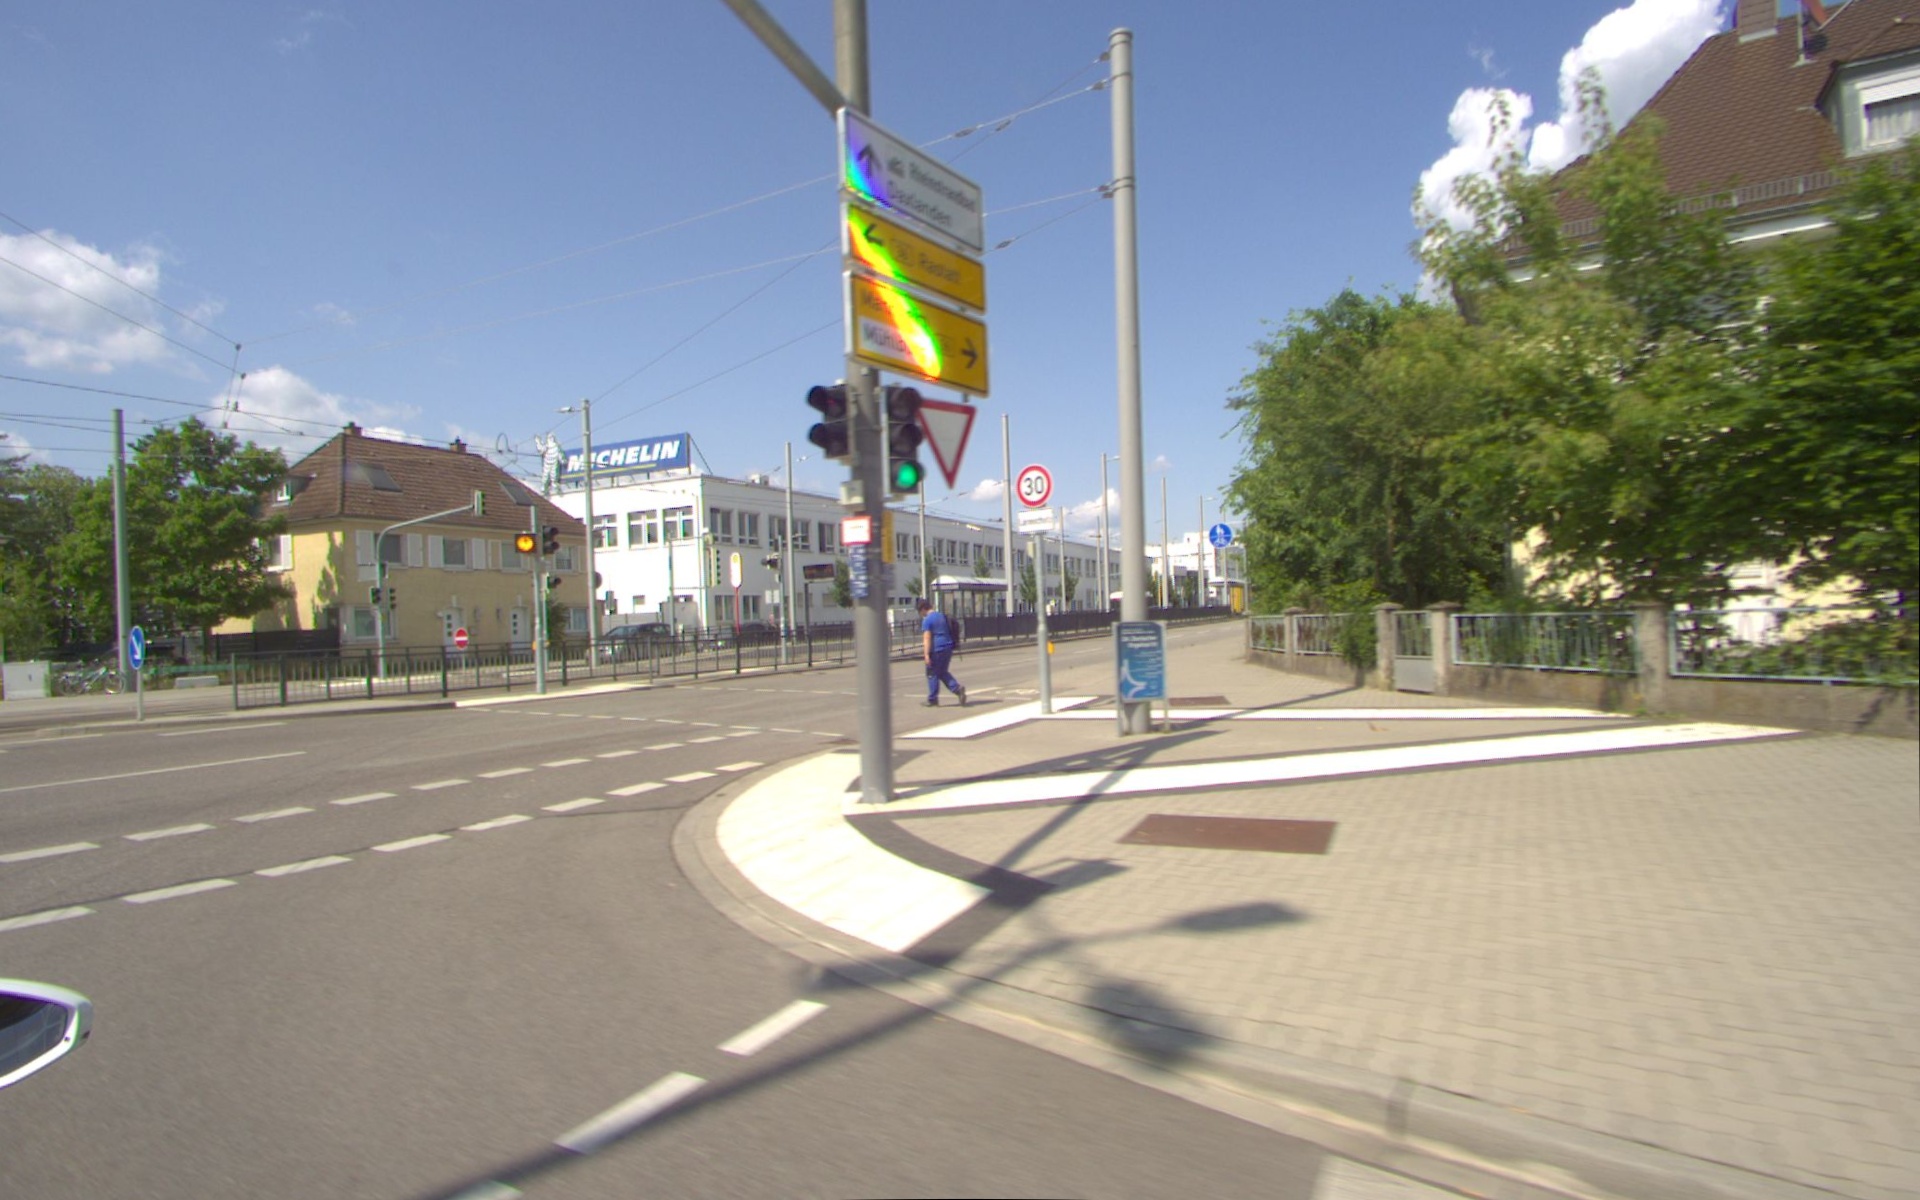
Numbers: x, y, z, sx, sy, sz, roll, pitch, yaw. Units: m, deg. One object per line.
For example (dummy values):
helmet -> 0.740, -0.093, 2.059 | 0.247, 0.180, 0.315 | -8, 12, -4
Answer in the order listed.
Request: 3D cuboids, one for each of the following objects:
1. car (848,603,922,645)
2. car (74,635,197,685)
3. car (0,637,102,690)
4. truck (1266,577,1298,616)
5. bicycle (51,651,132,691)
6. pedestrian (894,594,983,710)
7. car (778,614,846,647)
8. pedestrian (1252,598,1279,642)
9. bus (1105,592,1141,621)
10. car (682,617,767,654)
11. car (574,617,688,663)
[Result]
car -> -4.112, 1.323, 55.959 | 1.787, 2.187, 4.828 | -2, -1, 28
car -> -31.124, 2.263, 37.831 | 3.932, 1.641, 1.824 | -4, -1, 20
car -> -32.822, 2.278, 35.567 | 3.932, 1.641, 1.824 | -4, -1, 20
truck -> 30.623, -0.294, 95.088 | 2.152, 3.449, 7.213 | -2, -2, 23
bicycle -> -27.506, 2.238, 31.742 | 1.778, 1.119, 0.700 | -2, 0, -21
pedestrian -> -0.330, 0.797, 15.865 | 1.024, 1.758, 1.029 | -1, 0, 26
car -> -8.494, 1.732, 57.771 | 1.910, 1.714, 3.983 | -2, -1, 28
pedestrian -> 10.266, 0.684, 33.624 | 0.679, 1.451, 0.511 | -2, 0, 38
bus -> 18.545, 0.745, 113.704 | 2.467, 3.162, 6.636 | -2, -1, 23
car -> -10.267, 1.539, 43.911 | 1.552, 1.465, 3.707 | -2, -1, 28
car -> -12.528, 1.509, 38.348 | 1.814, 1.589, 3.983 | -2, -1, 28
